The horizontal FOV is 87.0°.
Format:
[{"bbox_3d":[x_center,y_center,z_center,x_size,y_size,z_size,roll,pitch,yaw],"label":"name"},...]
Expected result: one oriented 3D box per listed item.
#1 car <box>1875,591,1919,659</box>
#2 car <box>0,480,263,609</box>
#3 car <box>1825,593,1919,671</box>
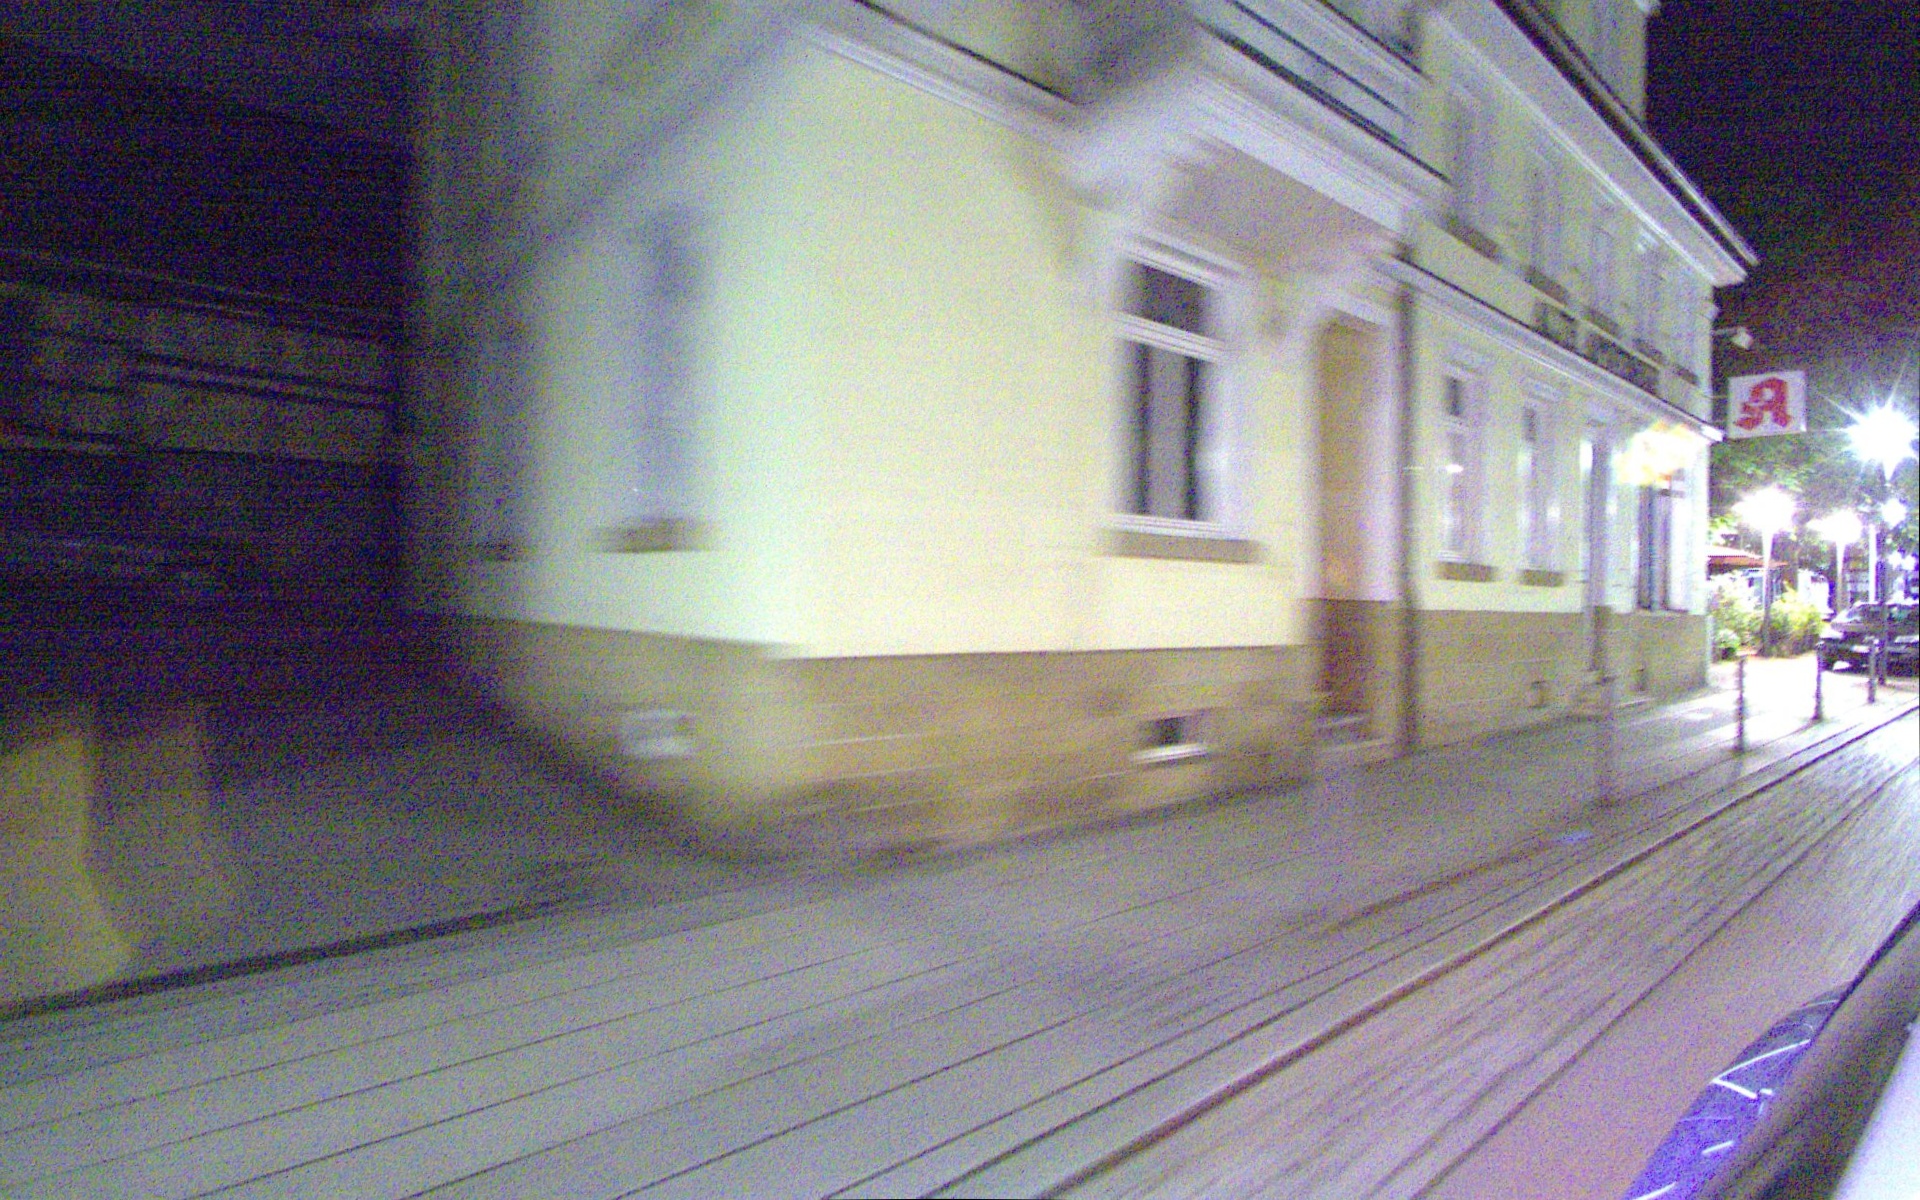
[{"bbox_3d":[23.242,0.580,23.797,4.384,1.482,1.758,0,3,-38],"label":"car"},{"bbox_3d":[-13.253,-0.849,15.145,4.505,1.728,1.867,1,4,-39],"label":"car"},{"bbox_3d":[19.296,0.596,20.655,4.028,1.394,1.666,0,3,-38],"label":"car"}]
